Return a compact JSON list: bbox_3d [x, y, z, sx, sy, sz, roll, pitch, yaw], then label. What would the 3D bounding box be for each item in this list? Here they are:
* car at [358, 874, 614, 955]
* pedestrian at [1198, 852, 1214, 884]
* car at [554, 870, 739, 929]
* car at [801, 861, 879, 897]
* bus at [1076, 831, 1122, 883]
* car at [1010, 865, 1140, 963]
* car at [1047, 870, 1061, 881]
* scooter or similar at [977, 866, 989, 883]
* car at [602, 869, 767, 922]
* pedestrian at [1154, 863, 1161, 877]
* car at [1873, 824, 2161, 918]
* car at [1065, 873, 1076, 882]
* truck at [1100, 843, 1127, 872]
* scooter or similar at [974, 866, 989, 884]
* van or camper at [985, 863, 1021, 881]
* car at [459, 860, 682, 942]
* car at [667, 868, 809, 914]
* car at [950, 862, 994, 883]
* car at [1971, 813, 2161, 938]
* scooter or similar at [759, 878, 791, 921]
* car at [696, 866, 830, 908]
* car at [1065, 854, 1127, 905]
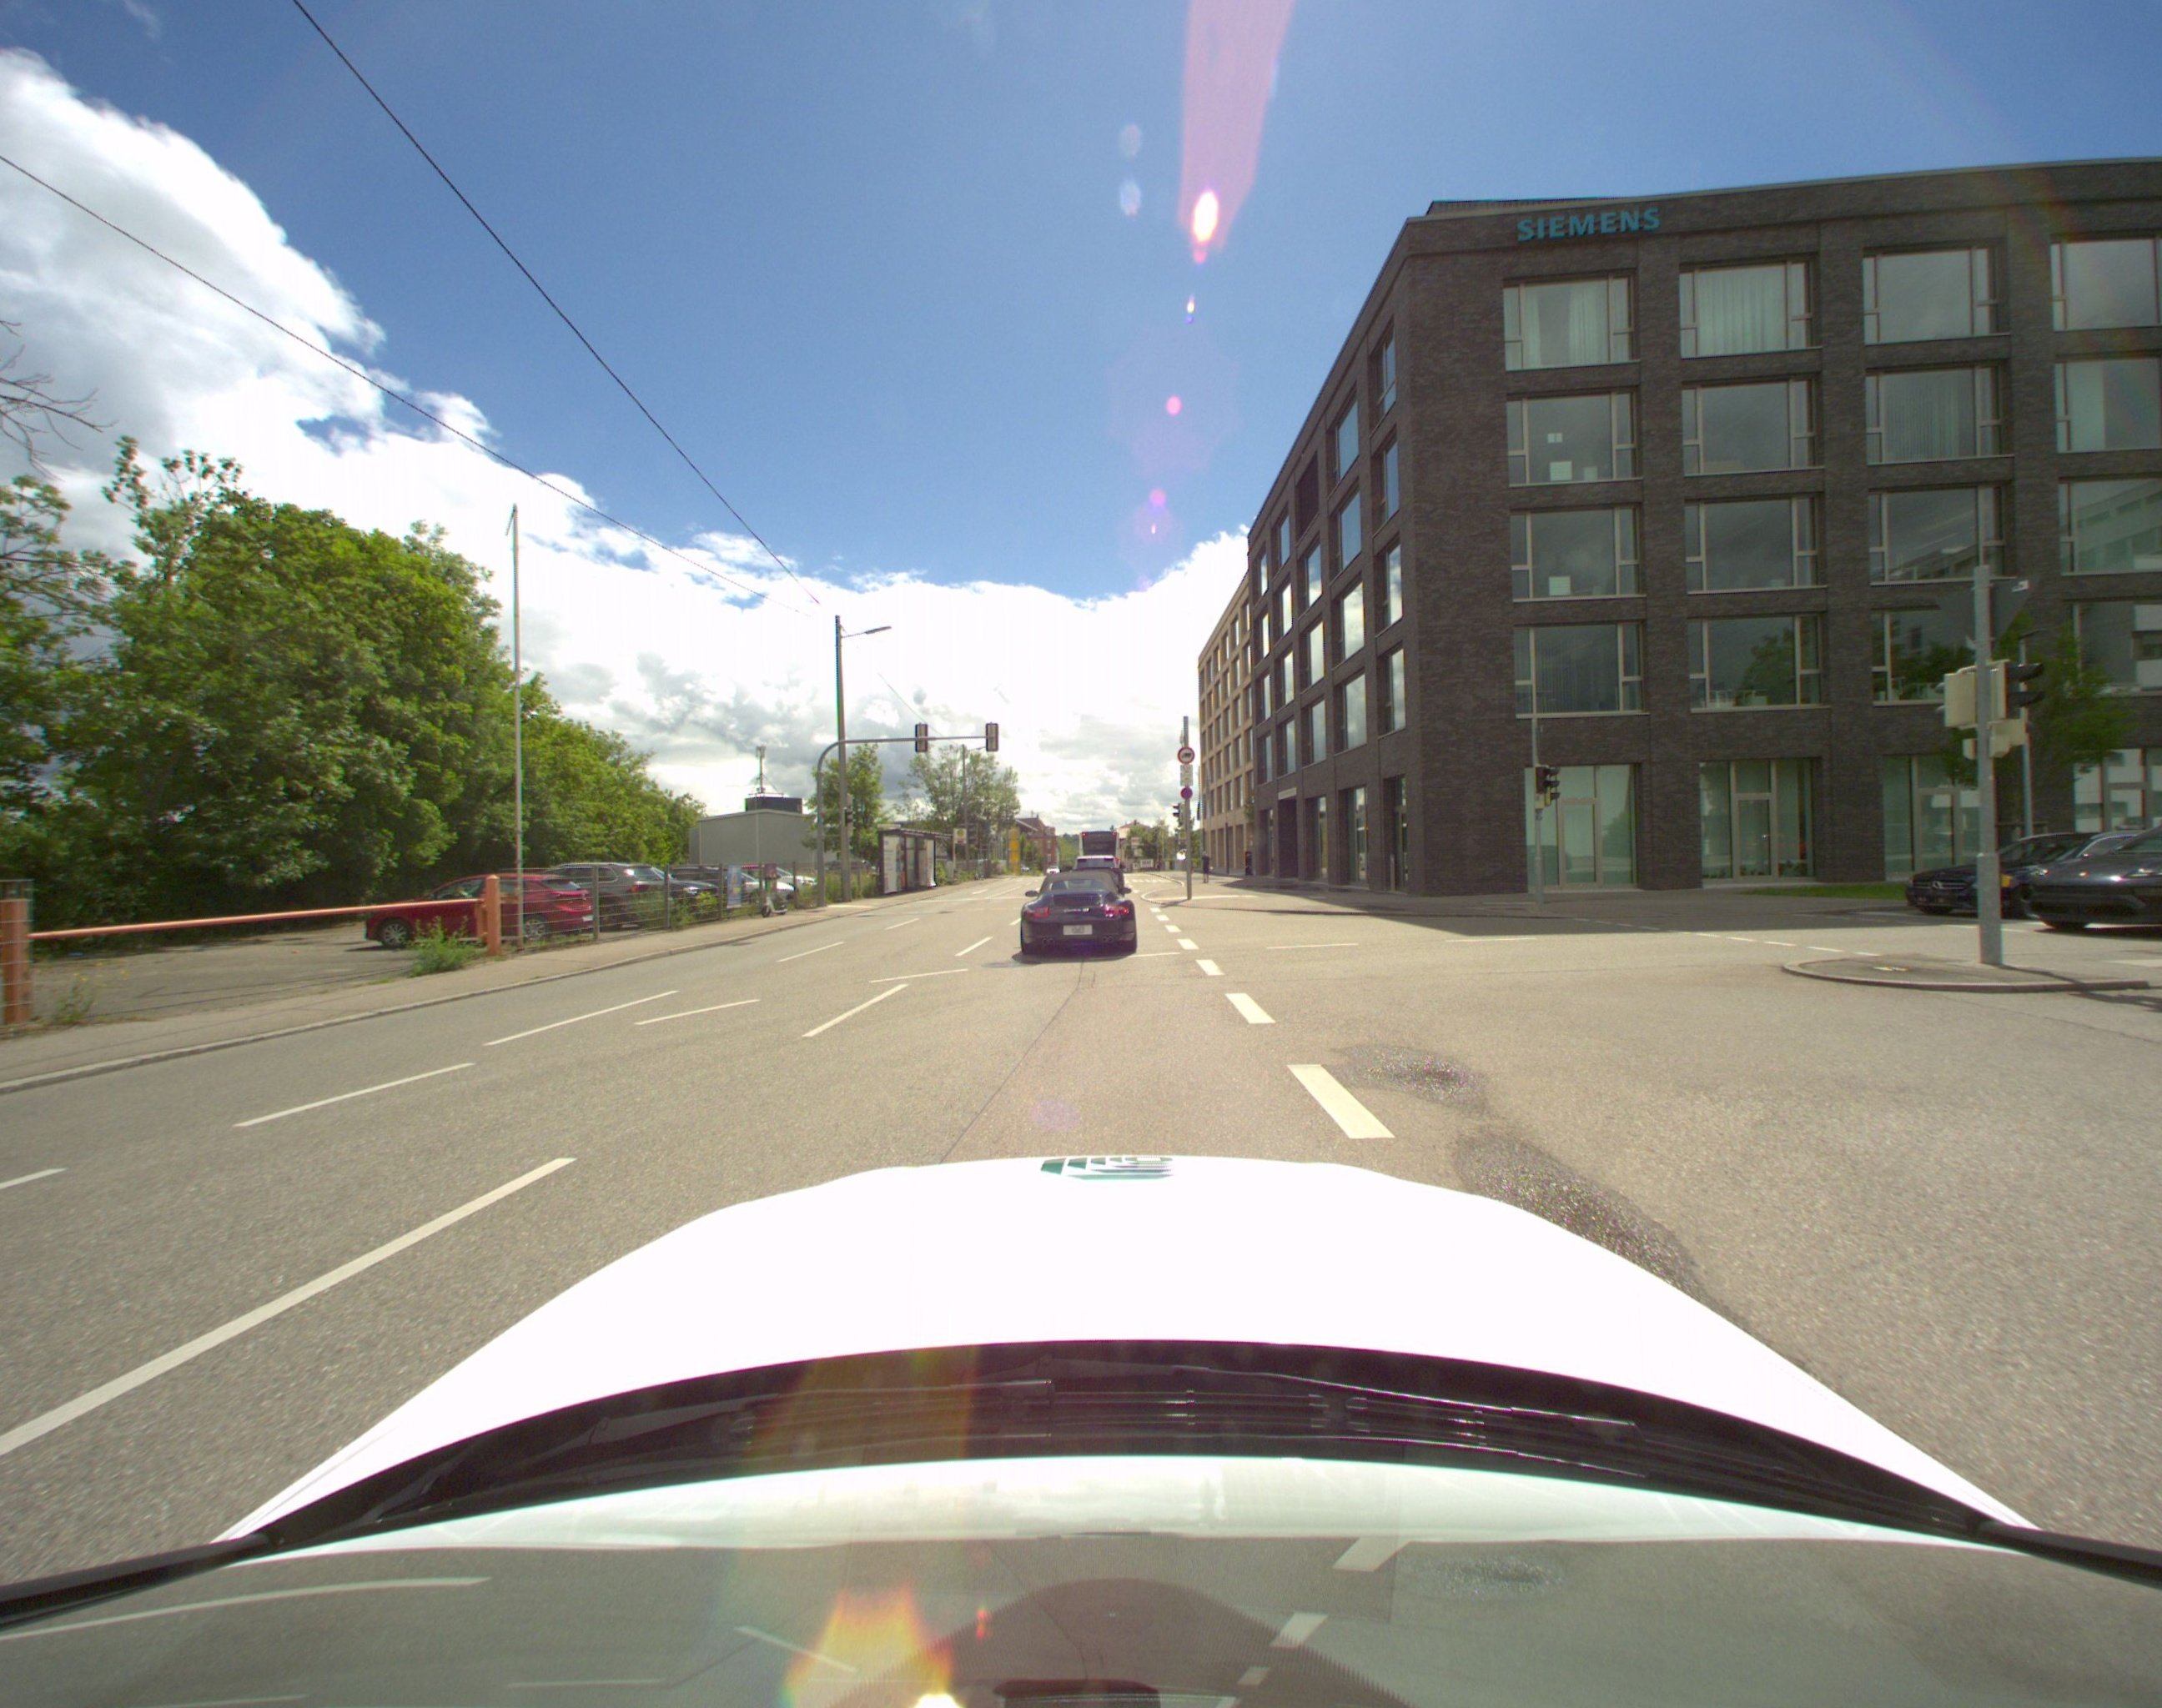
[{"bbox_3d":[-12.320,1.212,17.124,3.849,1.419,1.897,-2,-1,-8],"label":"car"},{"bbox_3d":[6.906,0.761,45.009,0.681,1.728,0.962,-1,-1,1],"label":"pedestrian"},{"bbox_3d":[-12.164,1.245,22.998,4.089,1.419,2.000,-2,-1,0],"label":"car"},{"bbox_3d":[-14.981,1.539,50.781,4.271,2.014,2.136,-2,-1,-7],"label":"car"},{"bbox_3d":[1.383,0.209,56.836,2.791,3.198,12.202,-1,0,2],"label":"bus"},{"bbox_3d":[-0.017,0.935,14.344,1.923,1.377,4.210,-1,0,2],"label":"car"},{"bbox_3d":[-3.779,3.054,115.269,1.790,1.376,4.224,-3,0,0],"label":"car"},{"bbox_3d":[-7.495,1.568,62.399,0.532,1.266,1.474,0,-1,6],"label":"scooter or similar"},{"bbox_3d":[-12.263,1.263,25.408,4.092,1.419,1.998,-2,-1,-2],"label":"car"},{"bbox_3d":[8.792,1.859,93.130,0.685,1.536,0.856,-2,-2,0],"label":"pedestrian"},{"bbox_3d":[17.666,0.279,14.805,4.507,1.492,2.000,-2,-1,1],"label":"car"},{"bbox_3d":[-1.798,4.113,143.349,1.824,1.509,4.274,-2,-2,-1],"label":"car"},{"bbox_3d":[3.584,0.453,91.959,2.704,3.054,7.713,-2,-1,1],"label":"truck"},{"bbox_3d":[-7.436,1.558,60.900,0.530,1.262,1.478,0,-1,18],"label":"scooter or similar"},{"bbox_3d":[-11.556,2.654,120.585,5.010,2.531,2.318,-1,0,0],"label":"van or camper"},{"bbox_3d":[-12.322,1.097,19.904,4.094,1.734,1.998,-2,-1,-4],"label":"car"},{"bbox_3d":[-11.864,1.262,28.365,4.087,1.419,1.917,-2,-1,1],"label":"car"},{"bbox_3d":[-11.214,1.878,83.890,4.149,2.014,2.197,-1,0,-2],"label":"car"},{"bbox_3d":[16.137,0.209,11.625,4.624,1.619,2.000,-2,0,0],"label":"car"},{"bbox_3d":[-9.032,1.323,24.033,0.421,1.210,1.128,0,0,6],"label":"scooter or similar"},{"bbox_3d":[-12.179,1.253,31.411,4.293,1.419,2.026,-2,-1,2],"label":"car"},{"bbox_3d":[0.450,0.827,28.036,1.925,1.583,4.205,-1,-1,-1],"label":"car"}]
